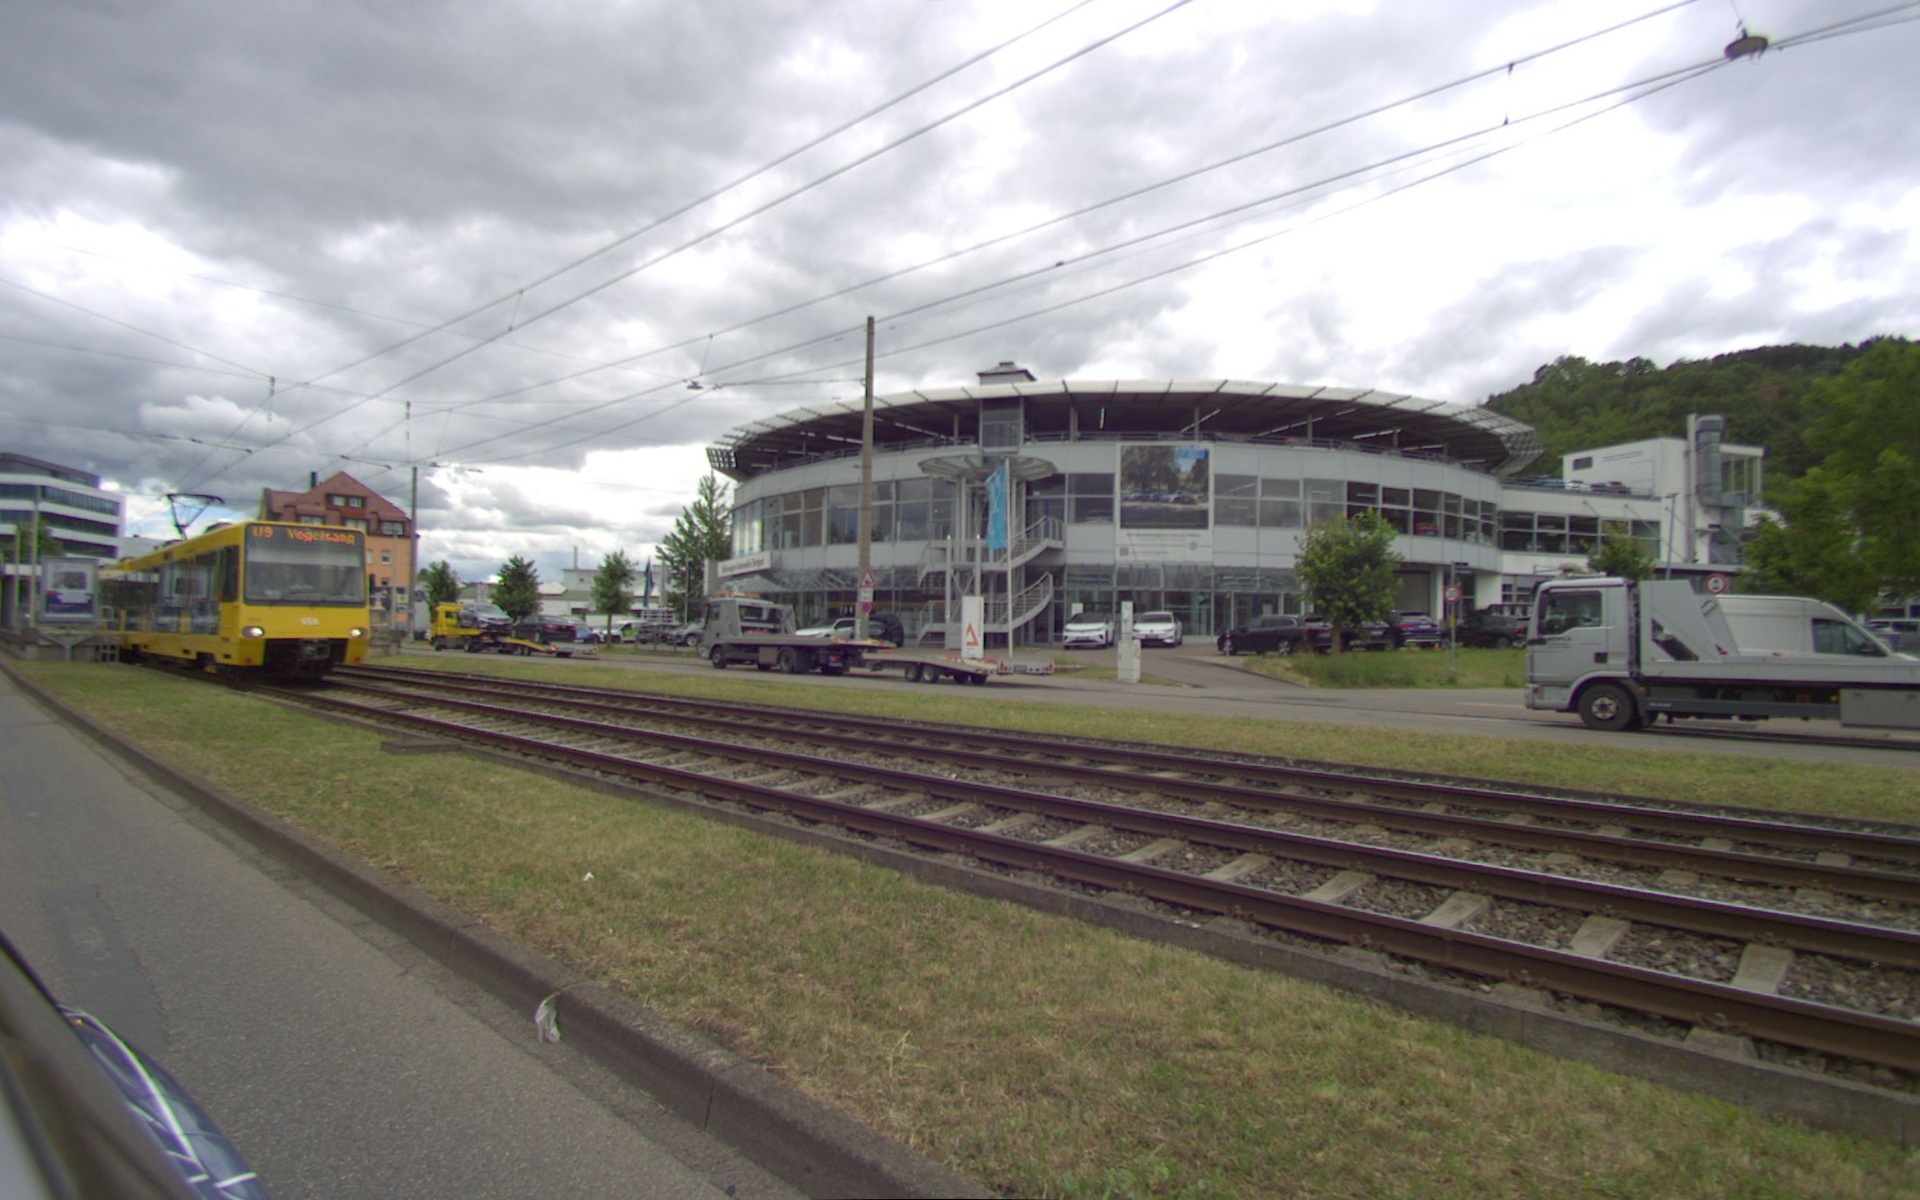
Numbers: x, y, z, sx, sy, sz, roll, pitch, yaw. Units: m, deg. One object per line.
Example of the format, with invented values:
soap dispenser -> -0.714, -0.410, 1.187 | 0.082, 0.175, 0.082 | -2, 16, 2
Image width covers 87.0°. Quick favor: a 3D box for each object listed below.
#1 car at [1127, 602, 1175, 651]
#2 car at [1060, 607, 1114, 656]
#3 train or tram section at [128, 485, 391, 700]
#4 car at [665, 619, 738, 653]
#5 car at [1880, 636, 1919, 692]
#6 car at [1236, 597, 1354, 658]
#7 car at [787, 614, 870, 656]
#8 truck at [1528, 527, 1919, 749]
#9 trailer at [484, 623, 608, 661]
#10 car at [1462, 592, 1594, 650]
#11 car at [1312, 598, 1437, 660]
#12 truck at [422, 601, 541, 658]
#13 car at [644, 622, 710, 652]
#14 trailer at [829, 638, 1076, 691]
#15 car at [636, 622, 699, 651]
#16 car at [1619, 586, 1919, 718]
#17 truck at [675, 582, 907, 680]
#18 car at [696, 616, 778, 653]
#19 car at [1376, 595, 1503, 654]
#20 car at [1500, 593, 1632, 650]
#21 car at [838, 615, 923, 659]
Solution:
car -> 8.358, 1.179, 44.099 | 1.980, 2.029, 3.984 | 0, -2, 12
car -> 5.555, 1.355, 43.784 | 1.980, 2.029, 3.984 | 0, -2, 12
train or tram section -> -18.935, -0.076, 26.397 | 3.347, 4.037, 16.963 | 0, 0, -43
car -> -15.339, 2.163, 60.046 | 3.930, 1.962, 2.006 | 1, -2, -24
car -> 29.251, 1.870, 29.108 | 1.648, 1.630, 3.728 | 1, -2, -23
car -> 11.759, 0.994, 35.788 | 1.966, 2.029, 4.012 | 1, -2, -18
car -> -6.422, 1.711, 49.684 | 1.993, 1.962, 3.957 | -1, -2, 32
truck -> 13.591, 0.607, 15.134 | 2.829, 3.004, 8.462 | 5, -5, -43
trailer -> -20.176, 1.972, 49.044 | 2.943, 1.701, 7.573 | 2, -3, -44
car -> 21.233, 0.807, 38.019 | 1.966, 2.029, 4.012 | 1, -2, -18
car -> 14.594, 1.037, 35.865 | 1.966, 2.029, 4.012 | 1, -2, -18
truck -> -26.091, 1.605, 54.934 | 3.014, 2.881, 9.072 | 2, -3, -44
car -> -18.846, 2.451, 67.376 | 3.930, 1.962, 2.006 | 1, -2, -23
trailer -> -0.382, 1.812, 28.988 | 7.010, 1.287, 3.014 | -2, -5, 45
car -> -20.314, 2.525, 70.333 | 3.930, 1.962, 2.006 | 1, -2, -23
car -> 17.628, 1.067, 21.659 | 5.849, 2.580, 1.976 | -1, -2, 35
truck -> -6.012, 1.100, 34.688 | 8.965, 2.944, 3.072 | -1, -5, 45
car -> -12.322, 1.912, 55.879 | 3.933, 1.962, 2.005 | 2, -2, -34
car -> 17.423, 0.909, 36.967 | 1.966, 2.029, 4.012 | 1, -2, -18
car -> 23.154, 0.835, 38.851 | 1.966, 2.029, 4.012 | 1, -2, -18
car -> -3.680, 1.720, 47.463 | 1.993, 1.962, 3.957 | -1, -2, 32
